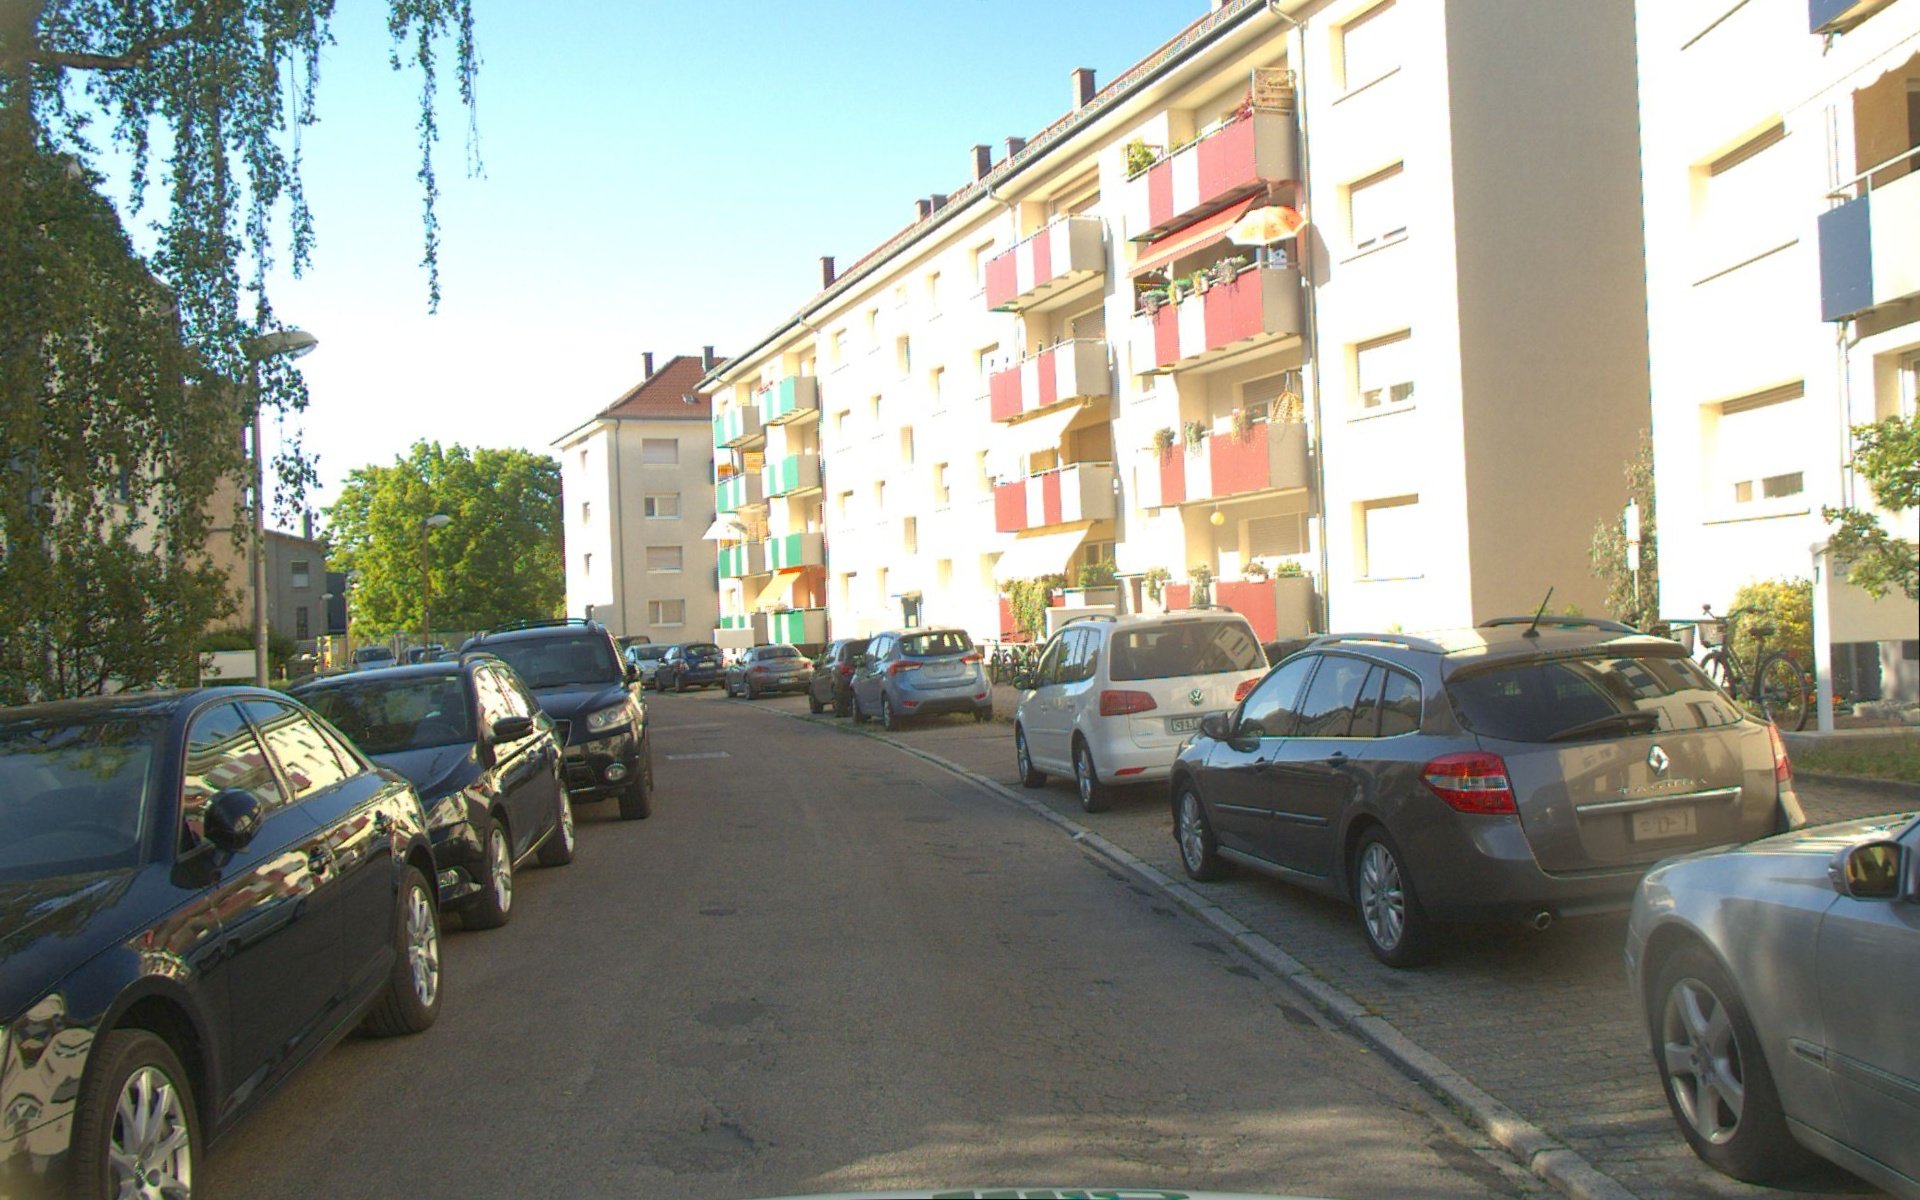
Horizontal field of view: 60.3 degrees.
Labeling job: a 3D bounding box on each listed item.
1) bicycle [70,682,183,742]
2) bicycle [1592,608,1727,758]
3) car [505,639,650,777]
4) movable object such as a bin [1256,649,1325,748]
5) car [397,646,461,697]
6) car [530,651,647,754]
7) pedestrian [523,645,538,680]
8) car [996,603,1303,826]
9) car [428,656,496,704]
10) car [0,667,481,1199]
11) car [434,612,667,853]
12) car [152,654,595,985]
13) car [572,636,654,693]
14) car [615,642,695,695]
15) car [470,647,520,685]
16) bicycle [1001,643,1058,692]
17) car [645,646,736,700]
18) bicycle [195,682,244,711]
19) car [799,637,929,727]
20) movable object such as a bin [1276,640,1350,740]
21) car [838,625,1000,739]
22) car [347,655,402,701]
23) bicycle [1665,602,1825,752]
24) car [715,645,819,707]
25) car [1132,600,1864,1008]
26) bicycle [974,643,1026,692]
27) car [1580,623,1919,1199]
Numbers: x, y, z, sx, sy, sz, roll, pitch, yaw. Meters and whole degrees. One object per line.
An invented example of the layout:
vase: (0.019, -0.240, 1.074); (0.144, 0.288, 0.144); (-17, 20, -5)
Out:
bicycle: (-15.569, 2.087, 30.920); (1.786, 1.097, 0.567); (0, -2, -7)
bicycle: (6.232, 0.710, 14.817); (0.504, 1.223, 1.762); (-4, -1, 5)
car: (-5.118, 1.389, 22.423); (1.664, 1.588, 4.144); (-3, -1, -12)
movable object such as a bin: (3.976, 1.176, 19.926); (0.572, 1.114, 0.682); (-4, -1, -5)
car: (-21.601, 2.910, 67.177); (1.873, 1.888, 4.160); (-2, -2, -26)
car: (-6.343, 1.665, 27.957); (1.667, 1.470, 4.002); (-4, 0, -16)
pedestrian: (-22.790, 3.318, 87.805); (0.644, 1.847, 0.611); (-4, -1, -16)
car: (1.603, 1.040, 15.666); (1.663, 1.684, 4.379); (-4, -3, -9)
car: (-17.472, 2.808, 57.912); (1.638, 1.468, 3.839); (-4, -1, -26)
car: (-2.753, 1.039, 4.918); (1.646, 1.467, 4.275); (-5, -1, -5)
car: (-3.612, 1.112, 15.218); (1.527, 1.744, 4.328); (-5, -1, -9)
car: (-3.351, 1.152, 10.225); (1.526, 1.467, 3.963); (-5, -1, -5)
car: (-12.778, 2.389, 60.687); (1.874, 1.888, 4.305); (-2, -2, -27)
car: (-10.368, 2.320, 56.070); (1.660, 1.615, 3.980); (-3, -1, -25)
car: (-23.852, 3.398, 84.727); (1.744, 1.770, 4.060); (-4, -1, -26)
bicycle: (1.551, 1.502, 37.245); (0.608, 0.995, 1.886); (-5, 1, -18)
car: (-8.463, 2.285, 51.700); (1.715, 1.456, 4.323); (-4, -1, -24)
bicycle: (-28.182, 3.680, 62.975); (1.626, 0.953, 0.543); (-4, -1, -24)
car: (-1.977, 1.608, 33.057); (1.708, 1.534, 3.868); (-5, -1, -16)
movable object such as a bin: (4.065, 1.034, 19.061); (0.572, 1.074, 0.640); (-5, -3, -5)
car: (-0.781, 1.322, 28.136); (1.737, 1.664, 4.024); (-4, 0, -15)
car: (-28.591, 3.818, 80.729); (1.970, 2.048, 4.416); (-4, -1, -26)
bicycle: (7.005, 0.660, 14.856); (0.504, 1.223, 1.833); (-4, -1, 1)
car: (-5.073, 1.965, 43.046); (1.661, 1.387, 4.214); (-5, 0, -20)
car: (2.397, 0.869, 8.847); (1.663, 1.456, 4.676); (-4, -1, -10)
bicycle: (0.882, 1.506, 37.047); (0.490, 1.037, 1.831); (-4, -1, -19)
car: (2.934, 0.768, 3.005); (1.644, 1.472, 4.721); (-2, -1, -2)
